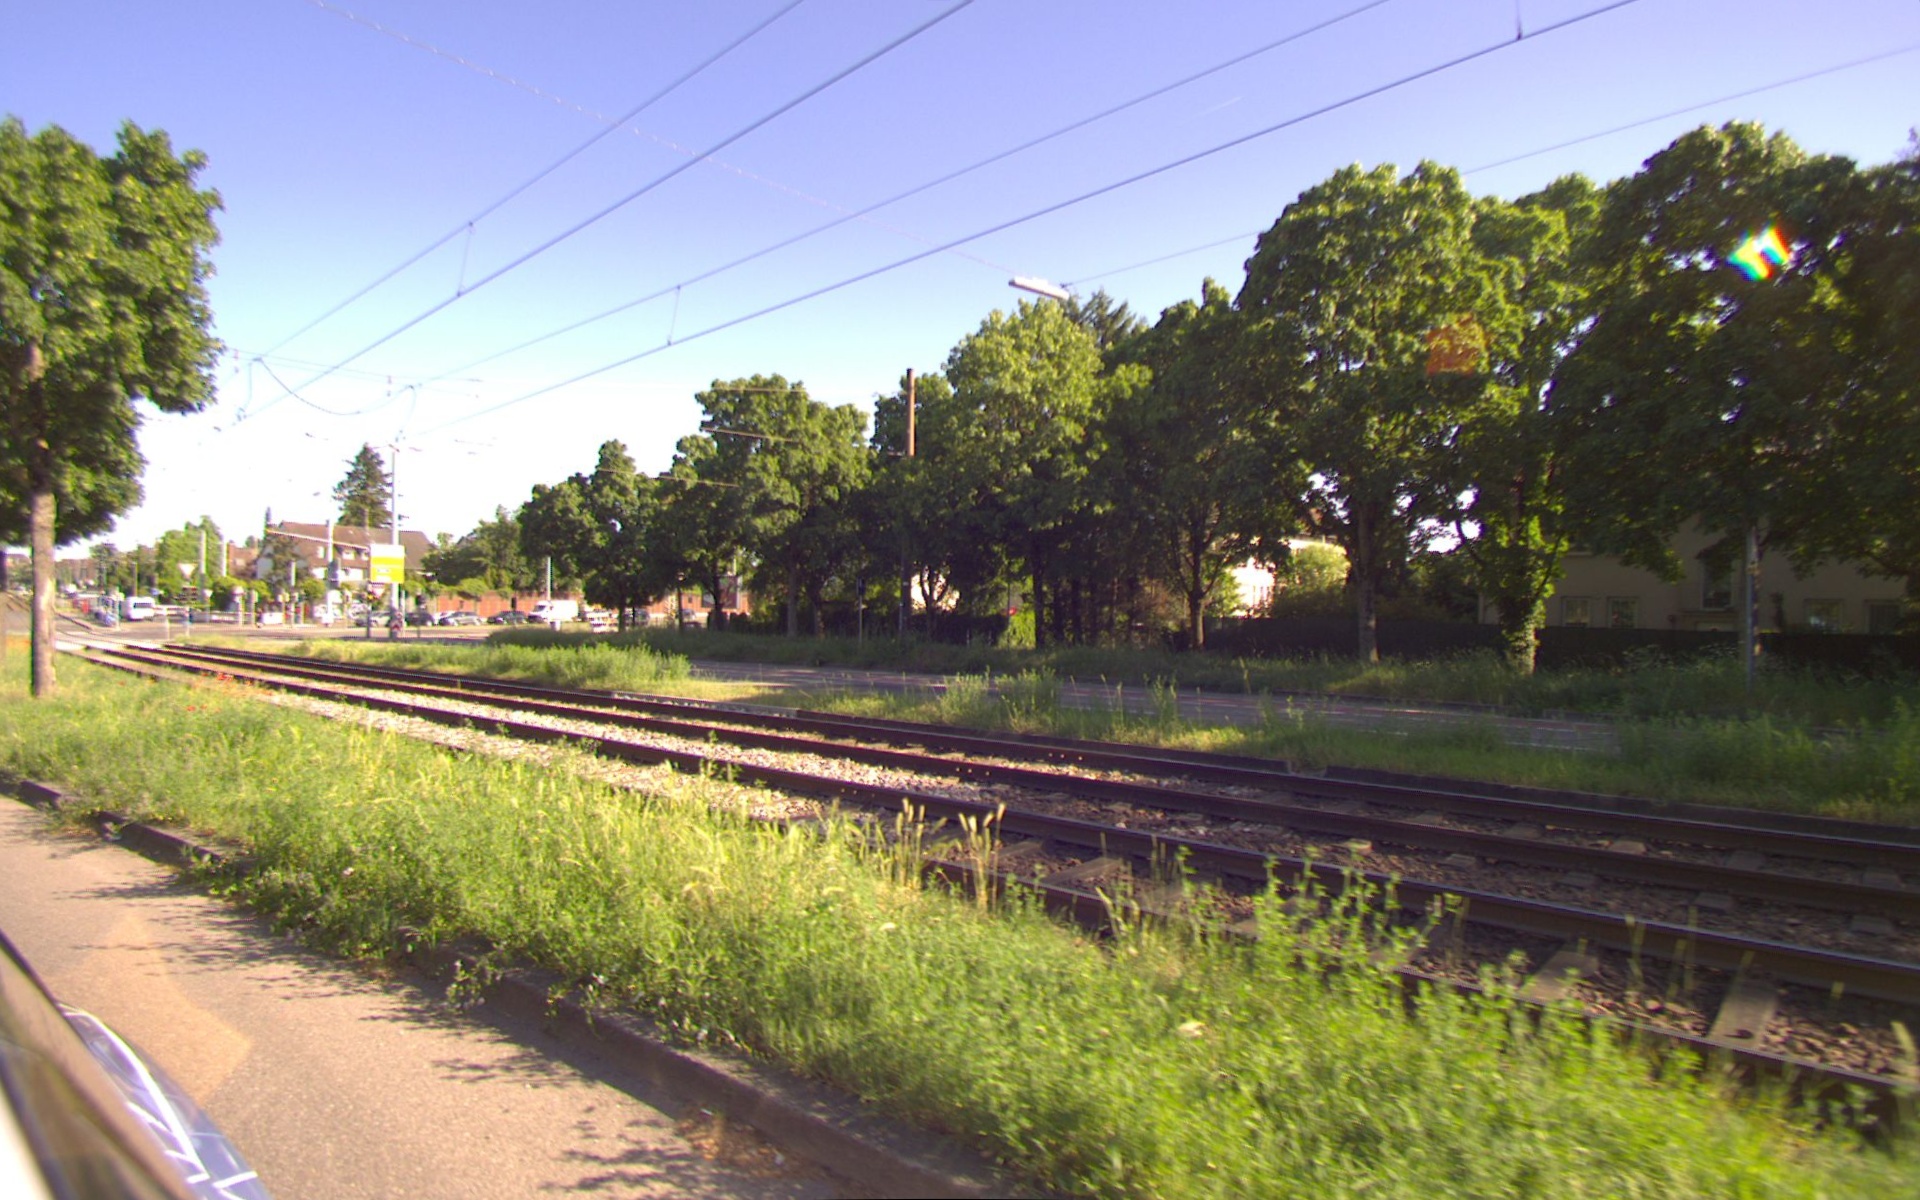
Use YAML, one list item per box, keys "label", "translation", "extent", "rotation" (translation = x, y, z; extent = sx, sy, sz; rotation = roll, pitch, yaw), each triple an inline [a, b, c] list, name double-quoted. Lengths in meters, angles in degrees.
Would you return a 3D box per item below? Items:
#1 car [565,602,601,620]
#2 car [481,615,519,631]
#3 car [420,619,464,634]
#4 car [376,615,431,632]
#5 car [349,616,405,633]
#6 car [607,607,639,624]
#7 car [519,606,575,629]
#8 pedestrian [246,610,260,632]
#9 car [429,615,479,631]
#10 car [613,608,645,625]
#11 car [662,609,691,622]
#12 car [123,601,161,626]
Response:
- label: "car"
  translation: [-42.785, 1.222, 115.050]
  extent: [1.793, 2.029, 3.977]
  rotation: [0, -1, 17]
- label: "car"
  translation: [-46.707, 2.356, 102.898]
  extent: [1.486, 1.579, 3.504]
  rotation: [0, -1, 20]
- label: "car"
  translation: [-51.721, 2.623, 101.138]
  extent: [1.659, 1.488, 3.976]
  rotation: [1, -1, 18]
- label: "car"
  translation: [-50.927, 2.104, 92.674]
  extent: [1.922, 1.477, 4.223]
  rotation: [0, 0, 18]
- label: "car"
  translation: [-53.869, 2.256, 93.579]
  extent: [1.659, 1.488, 4.609]
  rotation: [1, -1, 18]
- label: "car"
  translation: [-42.210, 1.965, 126.816]
  extent: [1.793, 2.029, 3.978]
  rotation: [0, -1, 17]
- label: "car"
  translation: [-44.519, 1.879, 109.278]
  extent: [2.165, 2.429, 5.882]
  rotation: [0, -1, 20]
- label: "pedestrian"
  translation: [-60.918, 1.805, 87.218]
  extent: [0.766, 1.963, 0.611]
  rotation: [0, -1, 2]
- label: "car"
  translation: [-48.842, 2.208, 97.805]
  extent: [1.922, 1.477, 4.234]
  rotation: [-1, -1, 18]
- label: "car"
  translation: [-40.138, 1.949, 122.854]
  extent: [1.793, 2.029, 3.978]
  rotation: [0, -1, 17]
- label: "car"
  translation: [-36.595, 2.006, 130.687]
  extent: [1.793, 1.755, 3.978]
  rotation: [0, -1, 17]
- label: "car"
  translation: [-84.261, 1.332, 104.347]
  extent: [2.309, 2.476, 6.889]
  rotation: [1, -1, -33]
